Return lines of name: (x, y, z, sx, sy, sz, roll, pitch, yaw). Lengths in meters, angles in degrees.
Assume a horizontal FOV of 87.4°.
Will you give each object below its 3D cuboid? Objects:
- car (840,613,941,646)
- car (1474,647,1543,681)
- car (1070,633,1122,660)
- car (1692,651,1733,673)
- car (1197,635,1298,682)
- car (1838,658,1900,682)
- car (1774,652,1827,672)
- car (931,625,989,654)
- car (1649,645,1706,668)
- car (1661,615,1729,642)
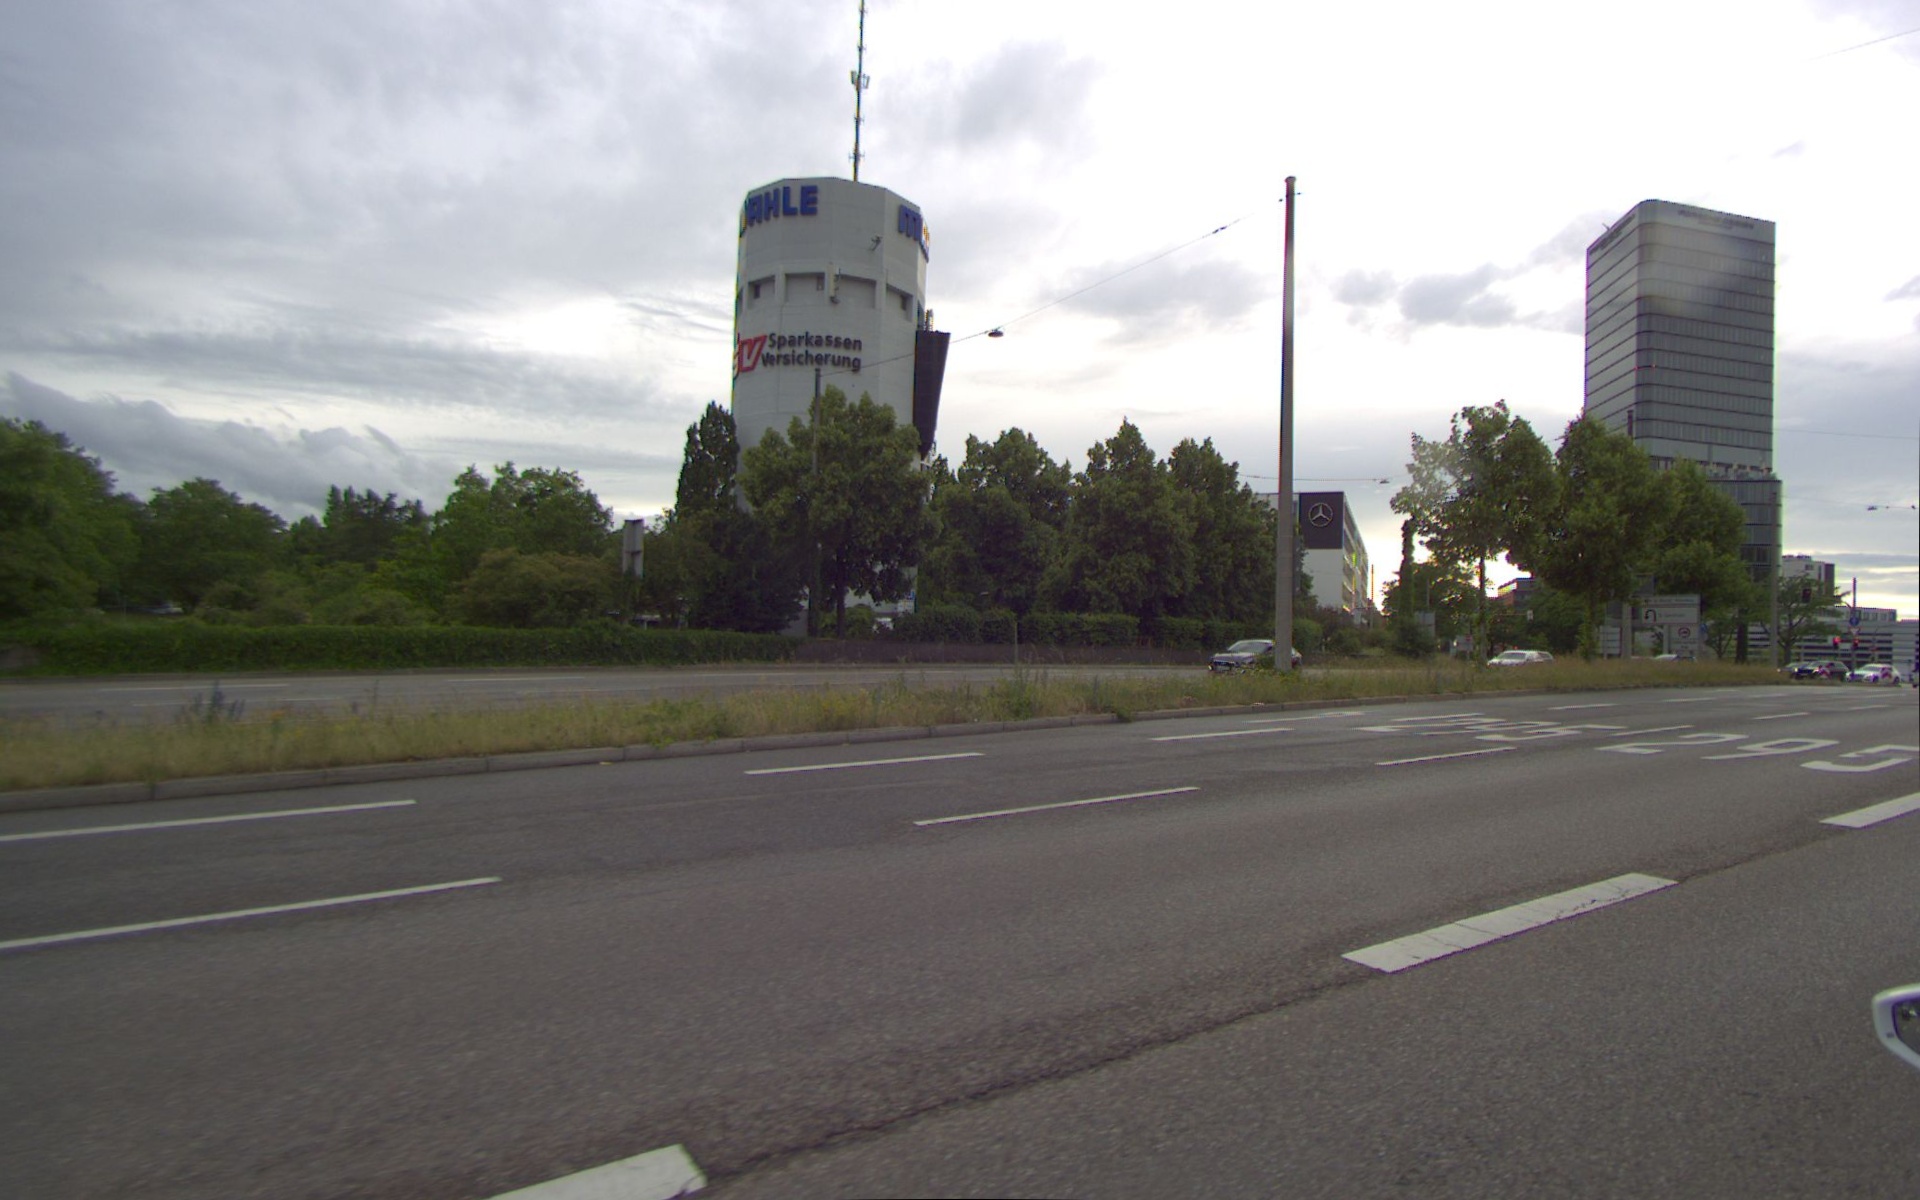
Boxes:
car: (-4.923, 2.136, 72.181, 6.924, 2.159, 2.369, 3, -1, -33)
car: (30.899, 3.570, 56.564, 4.835, 1.794, 1.975, 2, -2, -43)
car: (10.835, 3.669, 79.946, 3.963, 2.040, 1.979, 1, -1, -37)
car: (66.455, 5.423, 88.650, 3.491, 1.840, 1.590, 1, -1, -28)
car: (10.166, 2.023, 35.467, 3.642, 1.379, 1.582, -1, 2, -37)
car: (70.460, 5.422, 77.831, 4.541, 1.680, 1.888, 2, -2, -24)
car: (68.275, 5.071, 81.611, 4.527, 1.503, 1.920, 2, -2, -31)
car: (0.010, 2.945, 75.551, 3.957, 2.040, 1.982, 1, -1, -33)
car: (56.885, 4.490, 79.643, 4.691, 1.693, 1.983, 2, -1, -32)
car: (48.286, 1.886, 65.981, 4.548, 1.680, 1.885, 1, -1, -29)
